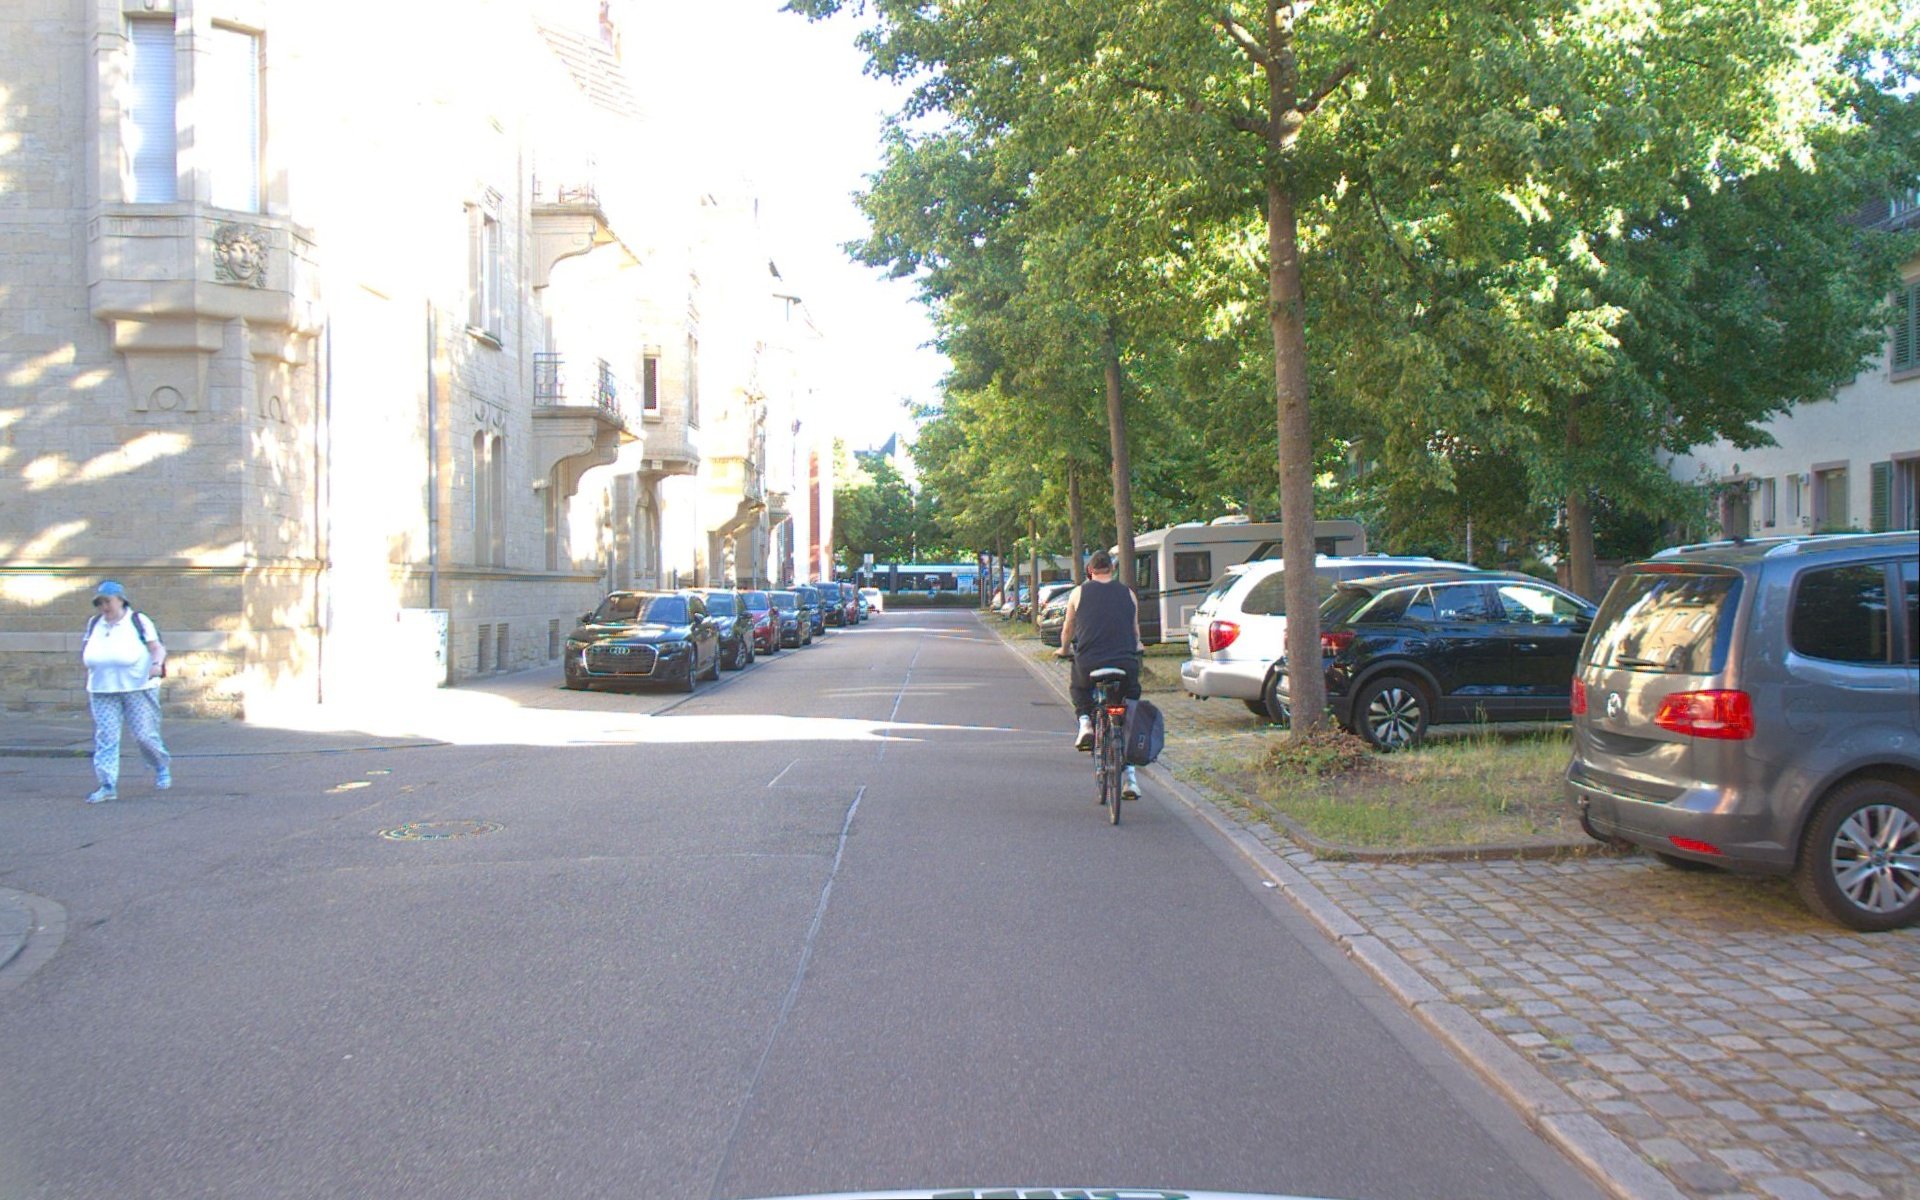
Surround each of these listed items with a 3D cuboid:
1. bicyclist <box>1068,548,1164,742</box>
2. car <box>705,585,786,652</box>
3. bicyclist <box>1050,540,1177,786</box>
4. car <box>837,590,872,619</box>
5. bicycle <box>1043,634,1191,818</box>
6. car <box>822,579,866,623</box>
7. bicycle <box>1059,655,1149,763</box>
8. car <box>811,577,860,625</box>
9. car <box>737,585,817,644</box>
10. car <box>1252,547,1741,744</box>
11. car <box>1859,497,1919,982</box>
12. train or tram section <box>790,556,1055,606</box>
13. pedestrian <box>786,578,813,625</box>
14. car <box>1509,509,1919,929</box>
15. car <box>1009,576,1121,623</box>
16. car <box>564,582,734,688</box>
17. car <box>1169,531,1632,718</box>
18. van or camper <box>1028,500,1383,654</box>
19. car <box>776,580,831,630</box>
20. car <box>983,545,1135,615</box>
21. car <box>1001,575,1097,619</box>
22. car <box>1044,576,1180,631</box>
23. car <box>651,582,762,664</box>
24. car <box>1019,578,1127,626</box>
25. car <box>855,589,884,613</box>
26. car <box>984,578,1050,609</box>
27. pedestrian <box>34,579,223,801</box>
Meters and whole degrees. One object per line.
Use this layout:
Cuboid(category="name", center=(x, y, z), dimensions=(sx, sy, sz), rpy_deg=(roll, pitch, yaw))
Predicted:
Cuboid(category="bicyclist", center=(1.374, 0.381, 14.695), dimensions=(0.675, 1.655, 0.998), rpy_deg=(1, 0, -3))
Cuboid(category="car", center=(-5.053, 0.393, 39.274), dimensions=(1.596, 1.478, 3.836), rpy_deg=(1, 1, -3))
Cuboid(category="bicyclist", center=(1.017, 0.410, 11.141), dimensions=(0.715, 1.575, 0.884), rpy_deg=(1, -1, -2))
Cuboid(category="car", center=(-5.427, 0.218, 85.429), dimensions=(1.551, 1.367, 4.131), rpy_deg=(2, 1, 0))
Cuboid(category="bicycle", center=(1.010, 0.791, 11.080), dimensions=(0.722, 1.072, 1.955), rpy_deg=(2, 0, -2))
Cuboid(category="car", center=(-5.198, 0.013, 74.436), dimensions=(1.654, 1.857, 4.273), rpy_deg=(2, 1, 0))
Cuboid(category="bicycle", center=(1.275, 0.952, 14.900), dimensions=(0.620, 0.813, 1.832), rpy_deg=(-1, 1, -1))
Cuboid(category="car", center=(-5.012, 0.008, 67.194), dimensions=(1.607, 1.814, 4.354), rpy_deg=(2, 1, 0))
Cuboid(category="car", center=(-4.938, 0.360, 45.122), dimensions=(1.641, 1.455, 4.550), rpy_deg=(2, 1, 0))
Cuboid(category="car", center=(4.912, 0.386, 15.532), dimensions=(3.985, 1.502, 1.694), rpy_deg=(-4, 1, 0))
Cuboid(category="car", center=(5.305, 0.356, 4.982), dimensions=(4.184, 1.662, 1.691), rpy_deg=(-4, 0, 2))
Cuboid(category="train or tram section", center=(-3.069, -1.576, 145.356), dimensions=(23.483, 3.773, 4.255), rpy_deg=(1, 0, -23))
Cuboid(category="pedestrian", center=(-6.109, 0.048, 63.029), dimensions=(0.919, 1.773, 0.735), rpy_deg=(1, -1, 0))
Cuboid(category="car", center=(5.192, 0.364, 7.927), dimensions=(4.453, 1.662, 1.810), rpy_deg=(-4, 0, -7))
Cuboid(category="car", center=(3.838, -0.001, 61.067), dimensions=(4.053, 1.628, 1.702), rpy_deg=(-1, -2, 1))
Cuboid(category="car", center=(-4.769, 0.492, 26.034), dimensions=(1.774, 1.451, 4.897), rpy_deg=(2, 0, -1))
Cuboid(category="car", center=(4.678, 0.247, 18.055), dimensions=(4.524, 1.739, 1.833), rpy_deg=(-2, 0, 1))
Cuboid(category="van or camper", center=(5.035, -0.480, 34.846), dimensions=(7.000, 2.693, 2.465), rpy_deg=(-4, 0, 1))
Cuboid(category="car", center=(-5.122, 0.142, 54.377), dimensions=(1.564, 1.514, 2.736), rpy_deg=(3, 1, -2))
Cuboid(category="car", center=(4.722, -0.967, 79.588), dimensions=(7.005, 3.030, 2.463), rpy_deg=(-2, 0, -4))
Cuboid(category="car", center=(3.885, -0.138, 72.398), dimensions=(4.002, 1.678, 1.640), rpy_deg=(-4, 0, -3))
Cuboid(category="car", center=(4.782, 0.128, 52.371), dimensions=(4.136, 1.628, 1.691), rpy_deg=(-1, -2, 1))
Cuboid(category="car", center=(-4.842, 0.429, 32.077), dimensions=(1.662, 1.479, 4.026), rpy_deg=(0, 0, -2))
Cuboid(category="car", center=(3.975, 0.085, 58.548), dimensions=(3.695, 1.628, 1.691), rpy_deg=(-1, -2, 1))
Cuboid(category="car", center=(-5.619, 0.058, 102.787), dimensions=(1.551, 1.399, 4.131), rpy_deg=(2, 1, 0))
Cuboid(category="car", center=(3.513, -0.374, 101.949), dimensions=(3.907, 1.835, 1.833), rpy_deg=(1, 0, -3))
Cuboid(category="pedestrian", center=(-6.371, 0.658, 12.737), dimensions=(0.870, 1.604, 1.053), rpy_deg=(-2, 1, -1))
